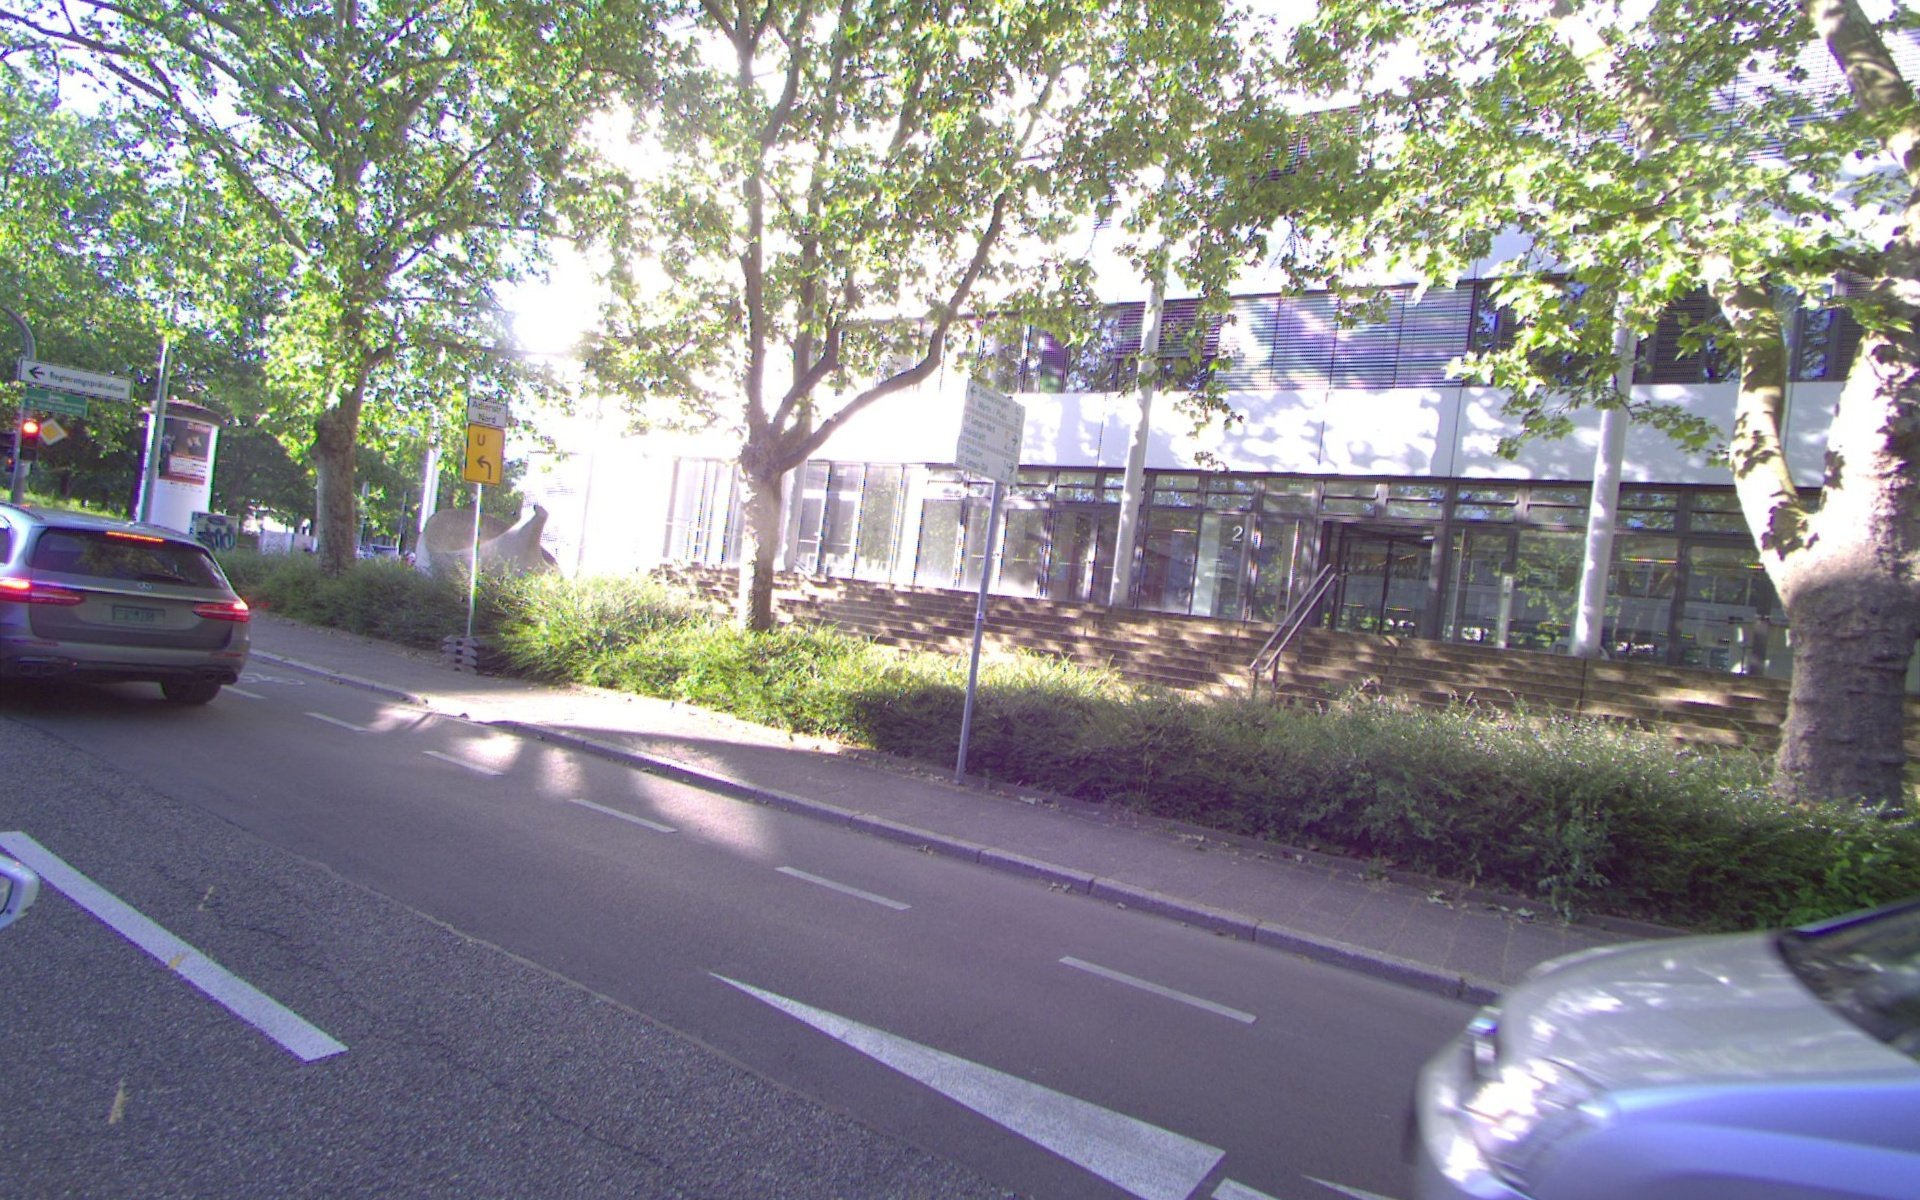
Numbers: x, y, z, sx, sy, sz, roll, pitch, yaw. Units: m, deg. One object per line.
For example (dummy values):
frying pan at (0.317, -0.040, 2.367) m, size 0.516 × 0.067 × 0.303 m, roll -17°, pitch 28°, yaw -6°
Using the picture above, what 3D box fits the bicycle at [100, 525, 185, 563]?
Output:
bicycle at (-25.784, -1.748, 31.754) m, size 0.714 × 0.893 × 1.895 m, roll 7°, pitch -2°, yaw 35°

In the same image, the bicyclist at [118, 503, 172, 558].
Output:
bicyclist at (-25.725, -2.189, 31.762) m, size 0.706 × 1.537 × 1.075 m, roll 7°, pitch 0°, yaw 36°

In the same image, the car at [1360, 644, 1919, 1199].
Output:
car at (2.840, 1.155, 1.618) m, size 3.797 × 1.622 × 1.703 m, roll 7°, pitch -1°, yaw 34°

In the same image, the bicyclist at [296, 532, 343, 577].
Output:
bicyclist at (-22.369, -1.586, 35.139) m, size 0.647 × 1.419 × 1.104 m, roll 7°, pitch -1°, yaw 35°

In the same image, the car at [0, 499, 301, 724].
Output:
car at (-7.933, -0.054, 8.633) m, size 4.592 × 1.481 × 1.917 m, roll 7°, pitch -3°, yaw 32°
